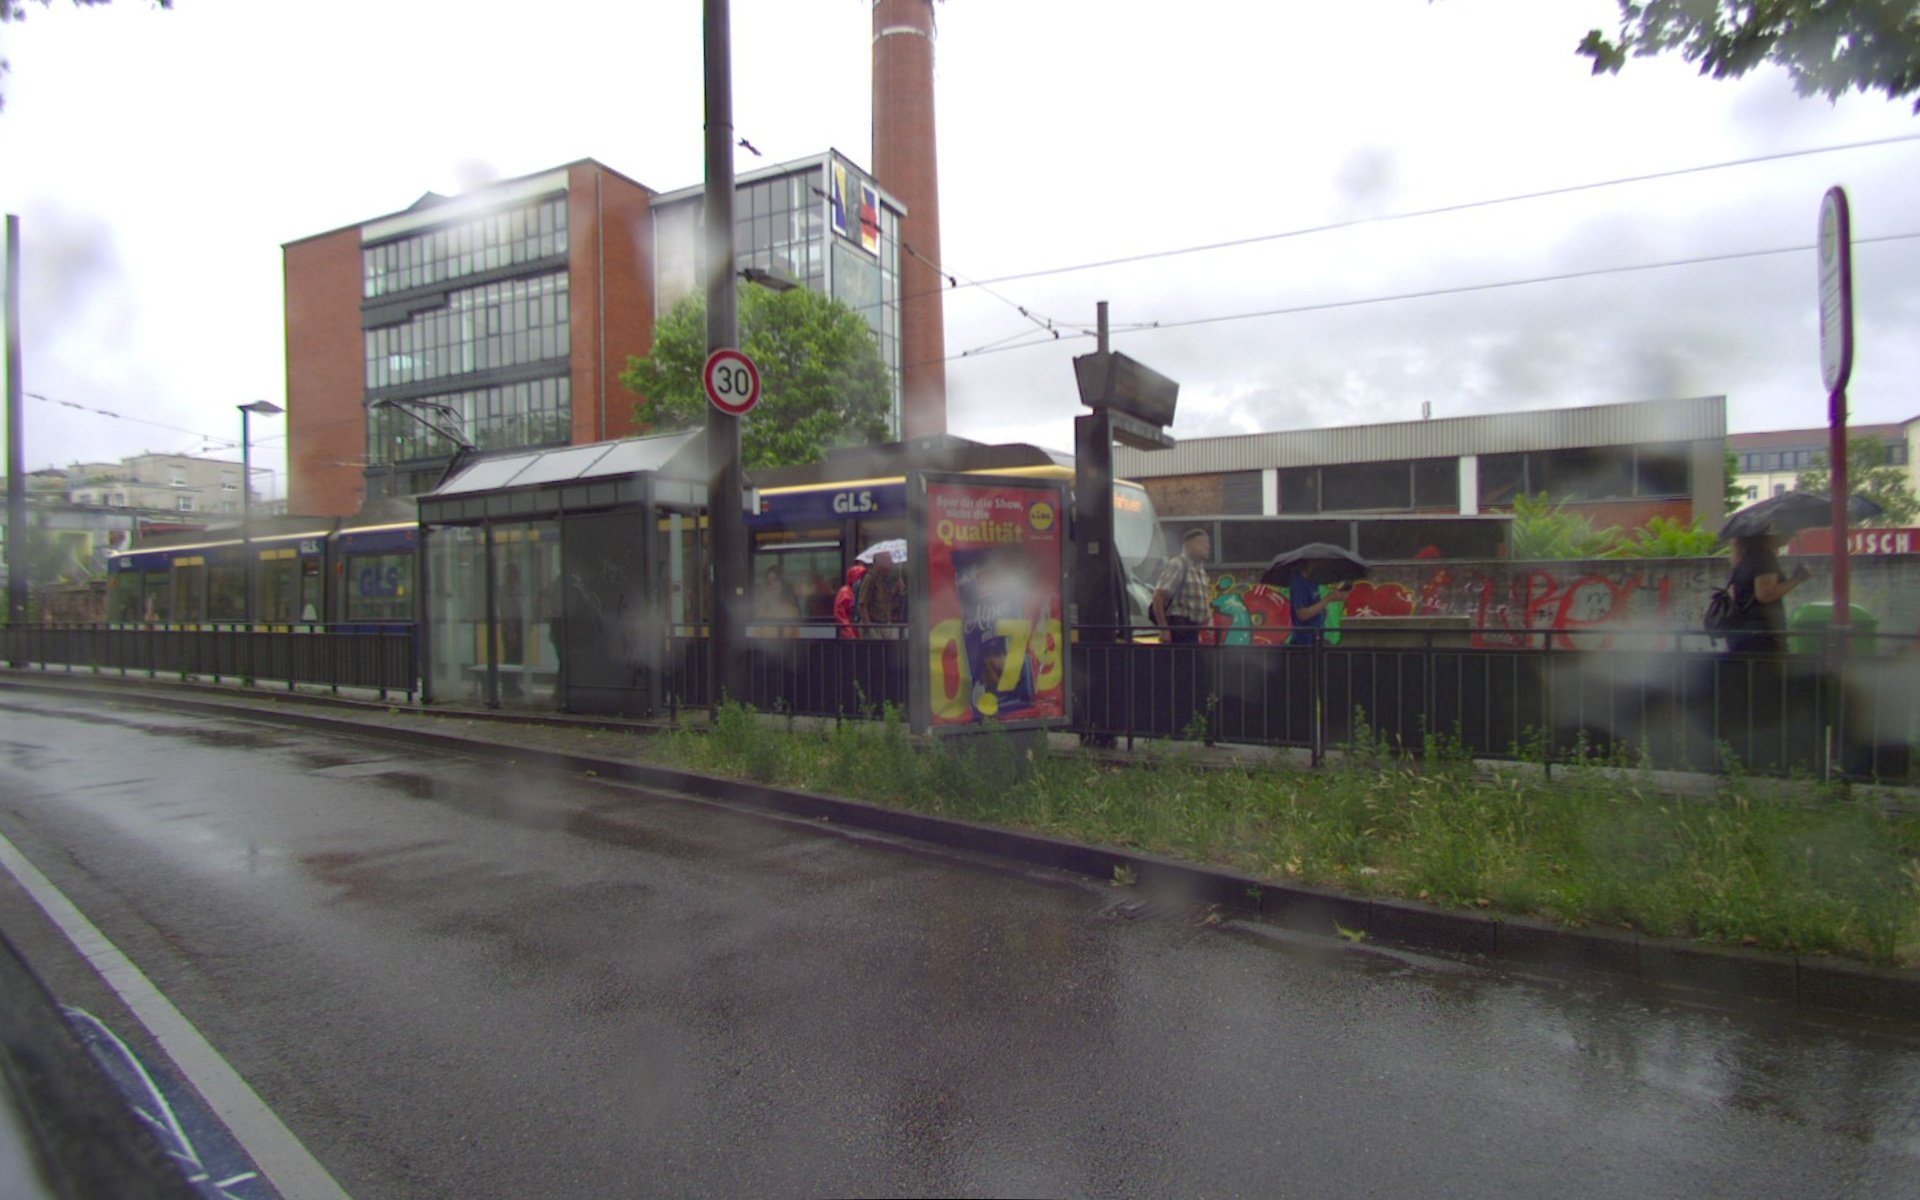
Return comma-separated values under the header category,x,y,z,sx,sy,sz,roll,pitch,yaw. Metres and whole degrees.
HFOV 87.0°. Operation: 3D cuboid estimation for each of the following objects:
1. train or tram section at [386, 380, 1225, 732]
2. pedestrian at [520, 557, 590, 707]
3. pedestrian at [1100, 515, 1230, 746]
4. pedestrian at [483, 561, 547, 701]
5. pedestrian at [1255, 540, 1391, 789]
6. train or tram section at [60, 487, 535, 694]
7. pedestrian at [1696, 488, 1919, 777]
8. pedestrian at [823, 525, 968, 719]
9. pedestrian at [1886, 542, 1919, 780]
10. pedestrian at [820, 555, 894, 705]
category,x,y,z,sx,sy,sz,roll,pitch,yaw
train or tram section,-3.258,-0.345,15.029,13.666,3.572,2.839,-1,0,31
pedestrian,-4.912,0.374,12.262,0.620,1.762,0.565,-1,0,-41
pedestrian,1.698,0.241,8.322,0.826,1.768,0.860,-1,0,27
pedestrian,-5.745,0.388,13.079,0.620,1.762,0.515,-1,0,-41
pedestrian,2.972,0.493,8.258,0.888,1.878,0.863,-1,0,29
train or tram section,-15.590,-0.060,22.782,15.323,3.572,2.838,-1,0,32
pedestrian,5.332,0.211,6.410,0.651,1.696,0.797,-2,-3,4
pedestrian,-0.648,0.252,10.292,1.072,1.840,0.975,-4,-4,30
pedestrian,6.579,0.391,6.571,0.656,1.531,0.677,-1,-1,28
pedestrian,-1.128,0.344,11.202,0.651,1.584,0.797,-2,-3,4
